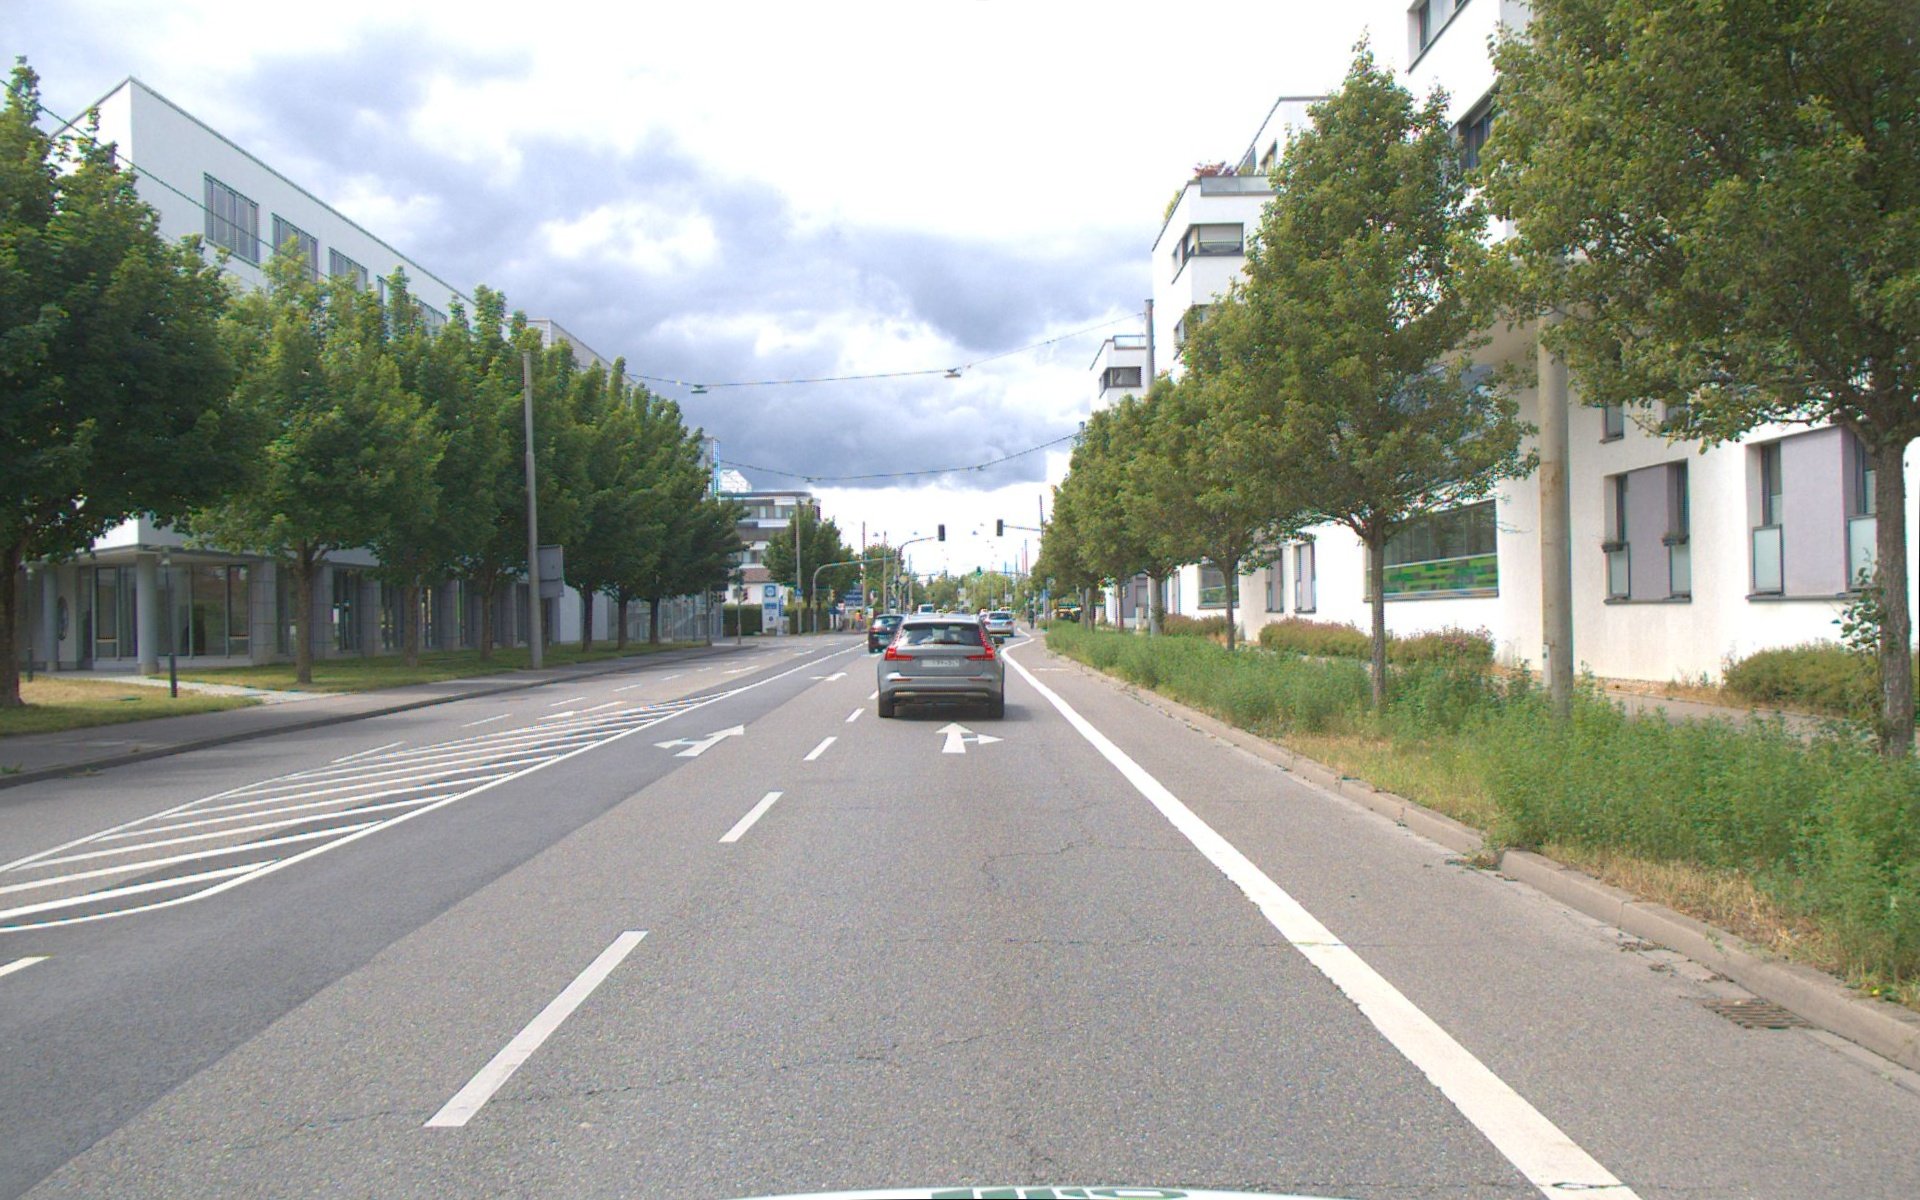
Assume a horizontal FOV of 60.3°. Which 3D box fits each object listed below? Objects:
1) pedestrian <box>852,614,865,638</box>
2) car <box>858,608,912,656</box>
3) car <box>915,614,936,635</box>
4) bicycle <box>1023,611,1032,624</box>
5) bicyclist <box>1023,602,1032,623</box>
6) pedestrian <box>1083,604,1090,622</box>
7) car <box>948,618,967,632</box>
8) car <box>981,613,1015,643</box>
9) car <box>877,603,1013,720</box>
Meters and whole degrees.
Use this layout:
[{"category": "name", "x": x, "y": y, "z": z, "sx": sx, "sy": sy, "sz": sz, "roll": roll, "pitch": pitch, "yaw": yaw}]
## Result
[{"category": "pedestrian", "x": -8.706, "y": 2.277, "z": 142.372, "sx": 0.714, "sy": 2.049, "sz": 0.805, "roll": -1, "pitch": -3, "yaw": 44}, {"category": "car", "x": -2.866, "y": 1.255, "z": 64.062, "sx": 1.953, "sy": 1.747, "sz": 3.999, "roll": 1, "pitch": -2, "yaw": -1}, {"category": "car", "x": -4.153, "y": 3.006, "z": 201.541, "sx": 2.098, "sy": 2.515, "sz": 6.074, "roll": -3, "pitch": -1, "yaw": 2}, {"category": "bicycle", "x": 5.697, "y": 1.488, "z": 139.020, "sx": 0.625, "sy": 1.081, "sz": 1.978, "roll": -4, "pitch": -1, "yaw": 1}, {"category": "bicyclist", "x": 5.666, "y": 1.048, "z": 138.992, "sx": 0.625, "sy": 1.704, "sz": 0.890, "roll": -4, "pitch": -1, "yaw": 1}, {"category": "pedestrian", "x": 12.282, "y": 1.264, "z": 160.442, "sx": 0.496, "sy": 1.796, "sz": 0.501, "roll": 0, "pitch": -2, "yaw": 18}, {"category": "car", "x": -0.301, "y": 2.927, "z": 193.342, "sx": 1.846, "sy": 1.579, "sz": 4.541, "roll": -2, "pitch": -2, "yaw": 4}, {"category": "car", "x": 2.212, "y": 1.661, "z": 96.871, "sx": 1.952, "sy": 1.725, "sz": 4.000, "roll": 1, "pitch": -2, "yaw": 1}, {"category": "car", "x": -0.239, "y": 0.905, "z": 24.881, "sx": 1.857, "sy": 1.582, "sz": 3.999, "roll": 1, "pitch": -2, "yaw": -1}]
